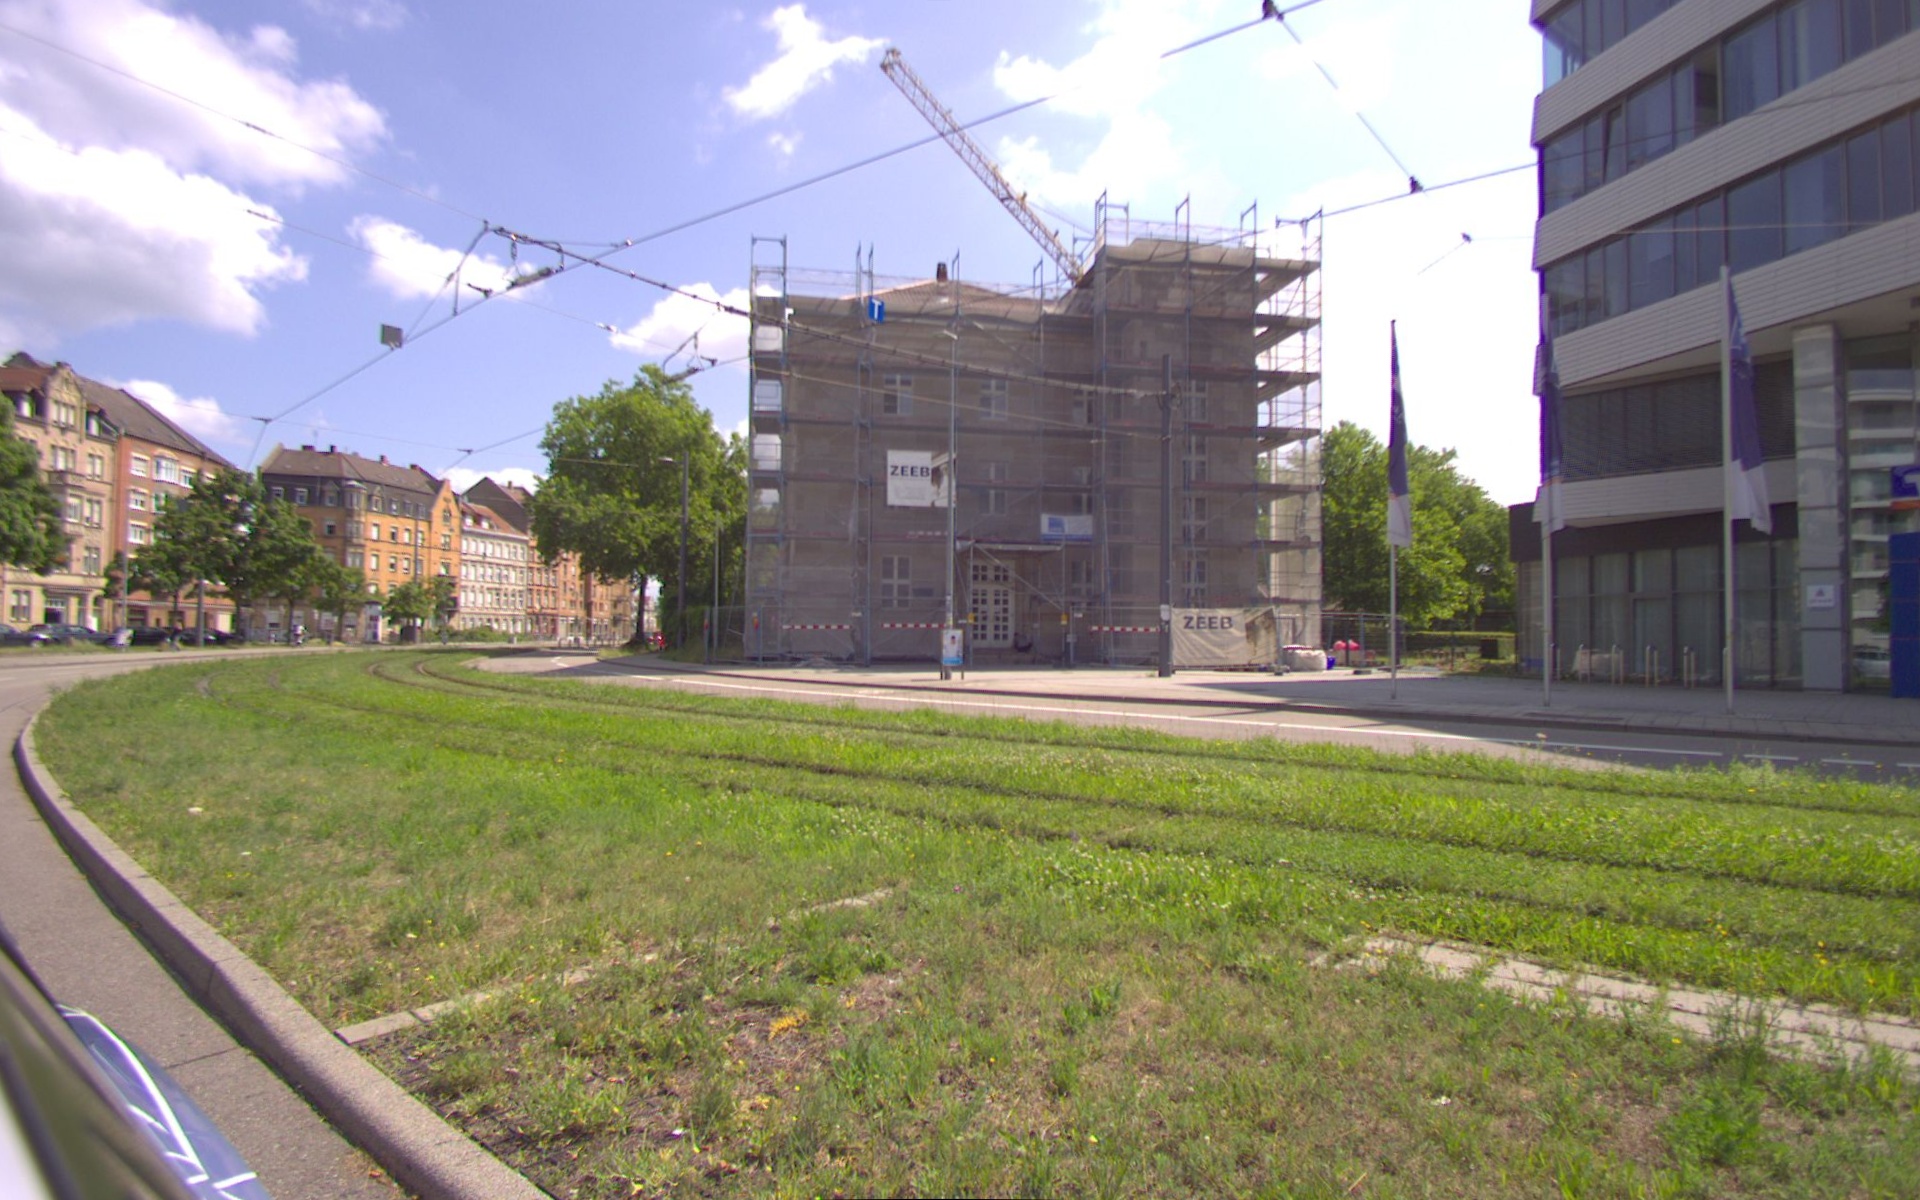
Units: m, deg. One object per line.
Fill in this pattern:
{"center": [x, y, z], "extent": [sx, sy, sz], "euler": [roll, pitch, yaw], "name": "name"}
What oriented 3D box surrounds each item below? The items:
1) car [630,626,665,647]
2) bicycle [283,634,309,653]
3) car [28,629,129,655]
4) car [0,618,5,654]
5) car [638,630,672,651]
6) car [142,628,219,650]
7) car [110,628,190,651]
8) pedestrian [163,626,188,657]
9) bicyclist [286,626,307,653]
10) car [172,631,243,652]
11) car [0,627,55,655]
{"center": [-21.018, 2.470, 68.096], "extent": [1.900, 1.379, 4.328], "euler": [-1, -2, -13], "name": "car"}
{"center": [-46.006, 3.034, 70.151], "extent": [0.685, 1.251, 1.842], "euler": [6, -4, -8], "name": "bicycle"}
{"center": [-50.558, 2.386, 58.094], "extent": [1.852, 1.391, 4.208], "euler": [-2, -2, 43], "name": "car"}
{"center": [-48.440, 1.732, 48.111], "extent": [1.852, 1.754, 4.304], "euler": [-2, -2, 43], "name": "car"}
{"center": [-22.153, 2.940, 73.592], "extent": [1.901, 1.431, 4.058], "euler": [-1, -2, -11], "name": "car"}
{"center": [-52.613, 2.608, 68.307], "extent": [3.940, 1.391, 1.963], "euler": [1, -2, -44], "name": "car"}
{"center": [-52.153, 2.522, 65.224], "extent": [3.936, 1.391, 1.965], "euler": [1, -2, -39], "name": "car"}
{"center": [-43.997, 2.328, 56.741], "extent": [0.691, 1.717, 1.047], "euler": [1, 0, -12], "name": "pedestrian"}
{"center": [-45.977, 2.734, 70.127], "extent": [0.685, 1.838, 0.958], "euler": [5, -4, -8], "name": "bicyclist"}
{"center": [-53.245, 2.937, 71.688], "extent": [3.932, 1.364, 1.967], "euler": [0, -2, -33], "name": "car"}
{"center": [-49.362, 2.094, 51.933], "extent": [1.852, 1.391, 4.208], "euler": [-2, -2, 43], "name": "car"}
